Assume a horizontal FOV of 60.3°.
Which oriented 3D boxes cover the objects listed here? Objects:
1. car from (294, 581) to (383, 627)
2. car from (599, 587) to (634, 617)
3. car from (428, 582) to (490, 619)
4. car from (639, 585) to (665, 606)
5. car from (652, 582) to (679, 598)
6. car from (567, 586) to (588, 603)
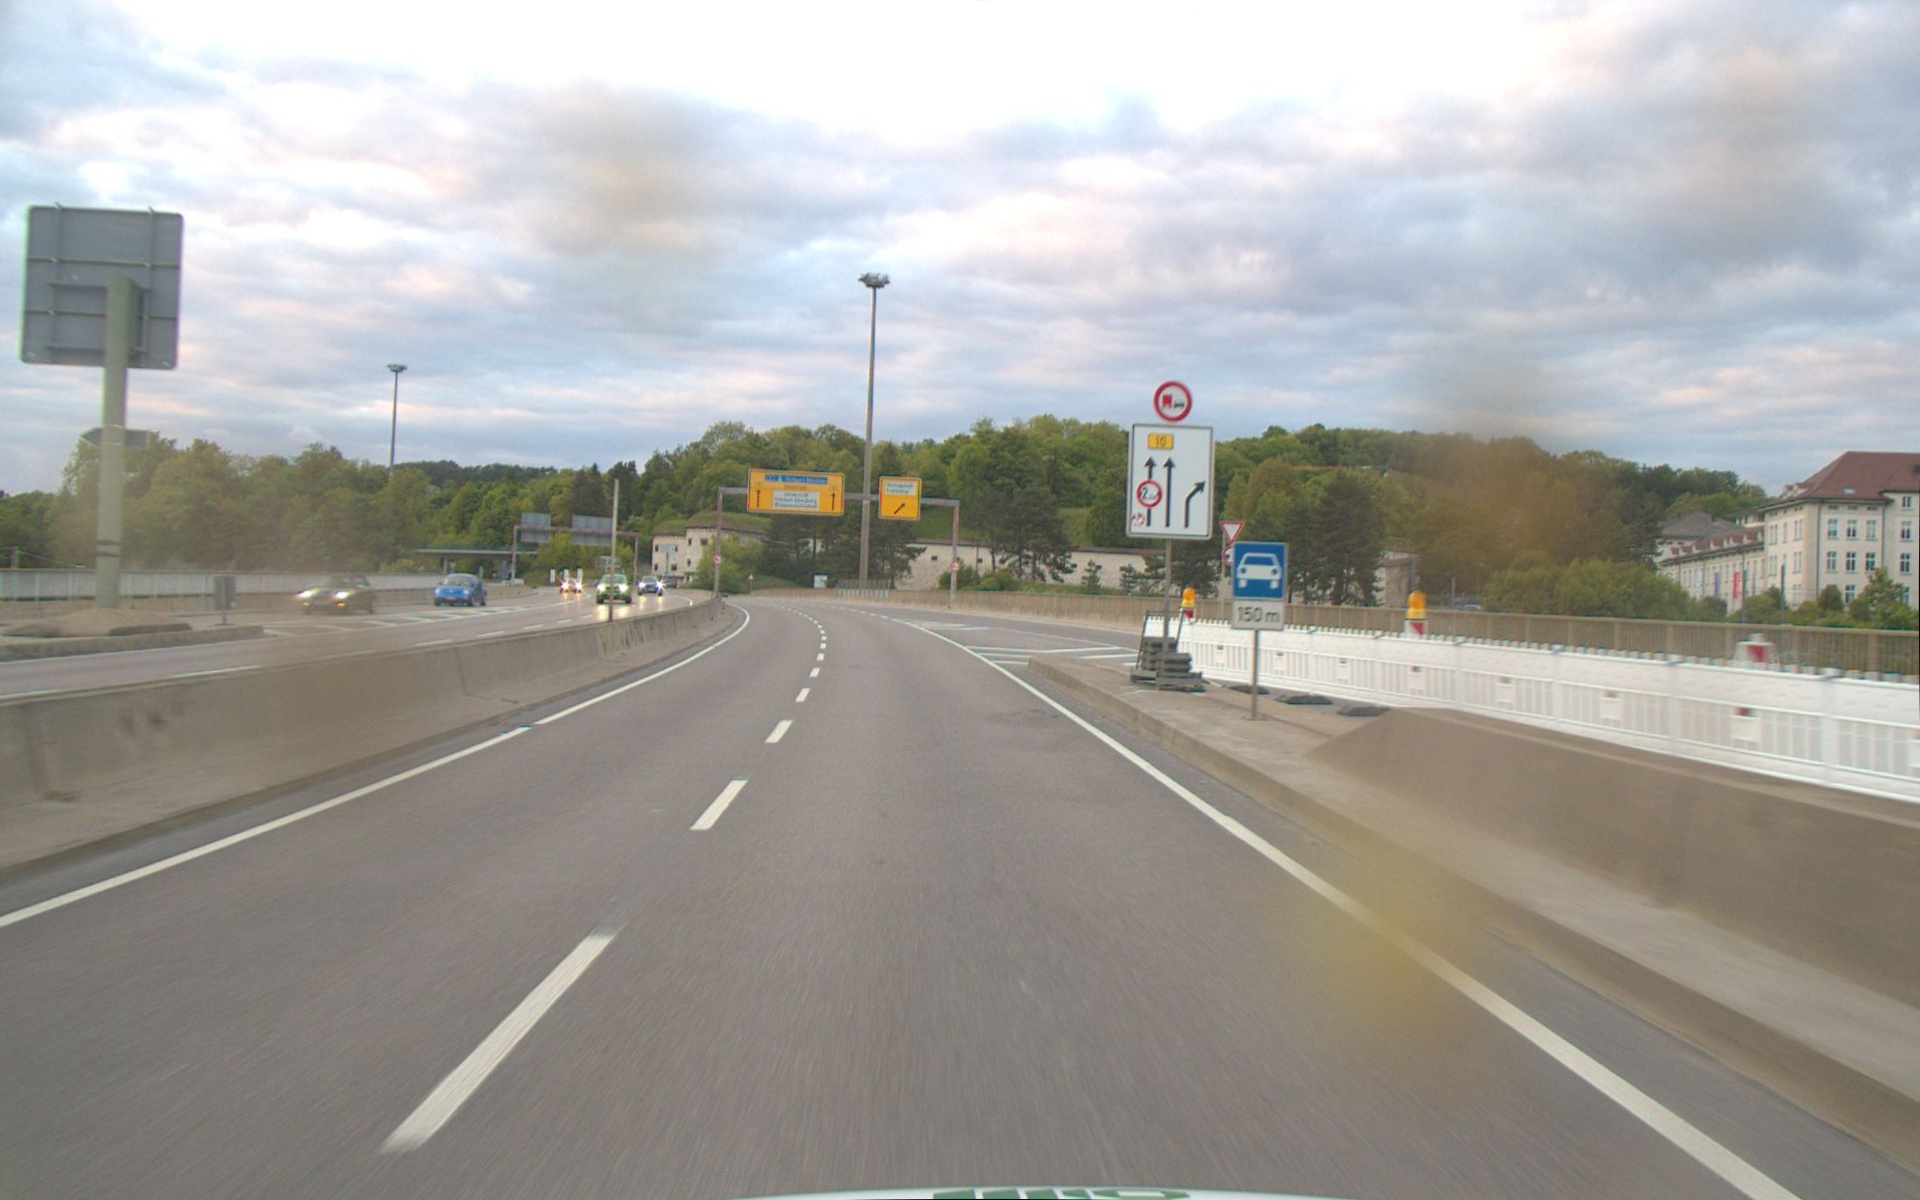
[{"bbox_3d":[-21.998,0.171,58.721,1.760,1.512,3.840,1,-1,-2],"label":"car"},{"bbox_3d":[-18.572,0.079,89.510,1.679,1.520,4.071,2,0,-10],"label":"car"},{"bbox_3d":[-23.314,0.009,77.111,1.860,1.624,4.160,1,1,-4],"label":"car"},{"bbox_3d":[-24.340,-0.389,130.576,1.780,1.561,4.530,2,0,-13],"label":"car"},{"bbox_3d":[-34.726,-1.189,194.853,2.272,1.794,4.235,3,0,-22],"label":"car"},{"bbox_3d":[-36.716,-0.514,158.711,1.703,1.502,4.203,2,0,-17],"label":"car"}]
